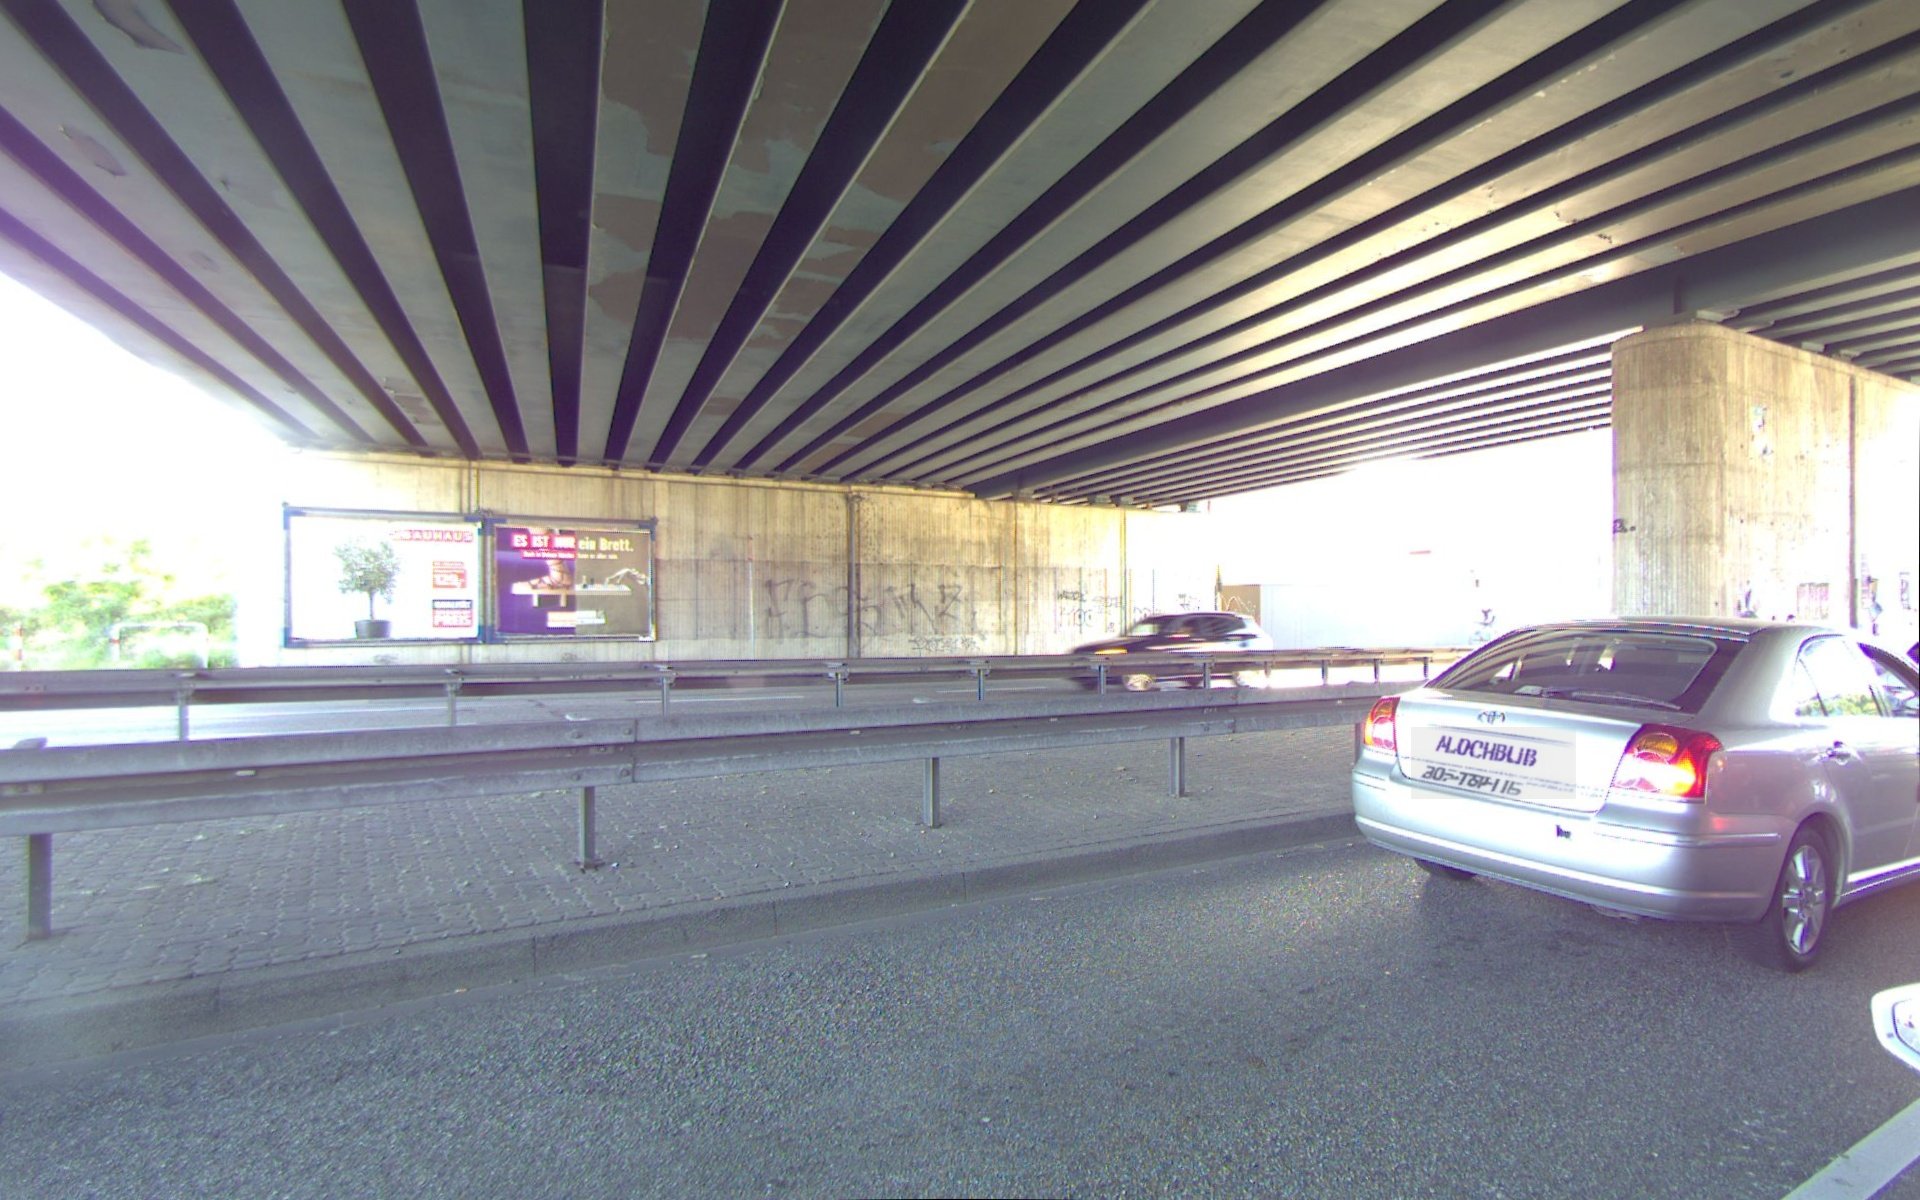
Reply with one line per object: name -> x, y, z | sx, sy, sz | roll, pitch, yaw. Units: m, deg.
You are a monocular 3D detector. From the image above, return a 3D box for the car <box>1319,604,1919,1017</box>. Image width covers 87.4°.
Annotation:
car -> 4.115, 0.802, 5.489 | 4.347, 1.474, 1.688 | 1, 0, -31

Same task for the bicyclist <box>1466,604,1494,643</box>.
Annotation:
bicyclist -> 20.964, 0.947, 40.532 | 0.827, 1.545, 0.624 | 2, 0, -30

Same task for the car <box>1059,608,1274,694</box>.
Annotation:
car -> 4.344, 1.033, 20.966 | 4.315, 1.638, 1.842 | 1, -2, -31

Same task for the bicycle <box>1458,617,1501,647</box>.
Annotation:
bicycle -> 20.953, 1.289, 40.529 | 1.856, 1.181, 0.631 | 2, 0, -30

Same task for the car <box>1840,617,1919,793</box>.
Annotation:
car -> 9.613, 0.899, 8.889 | 3.769, 1.429, 1.684 | 1, 0, -31
